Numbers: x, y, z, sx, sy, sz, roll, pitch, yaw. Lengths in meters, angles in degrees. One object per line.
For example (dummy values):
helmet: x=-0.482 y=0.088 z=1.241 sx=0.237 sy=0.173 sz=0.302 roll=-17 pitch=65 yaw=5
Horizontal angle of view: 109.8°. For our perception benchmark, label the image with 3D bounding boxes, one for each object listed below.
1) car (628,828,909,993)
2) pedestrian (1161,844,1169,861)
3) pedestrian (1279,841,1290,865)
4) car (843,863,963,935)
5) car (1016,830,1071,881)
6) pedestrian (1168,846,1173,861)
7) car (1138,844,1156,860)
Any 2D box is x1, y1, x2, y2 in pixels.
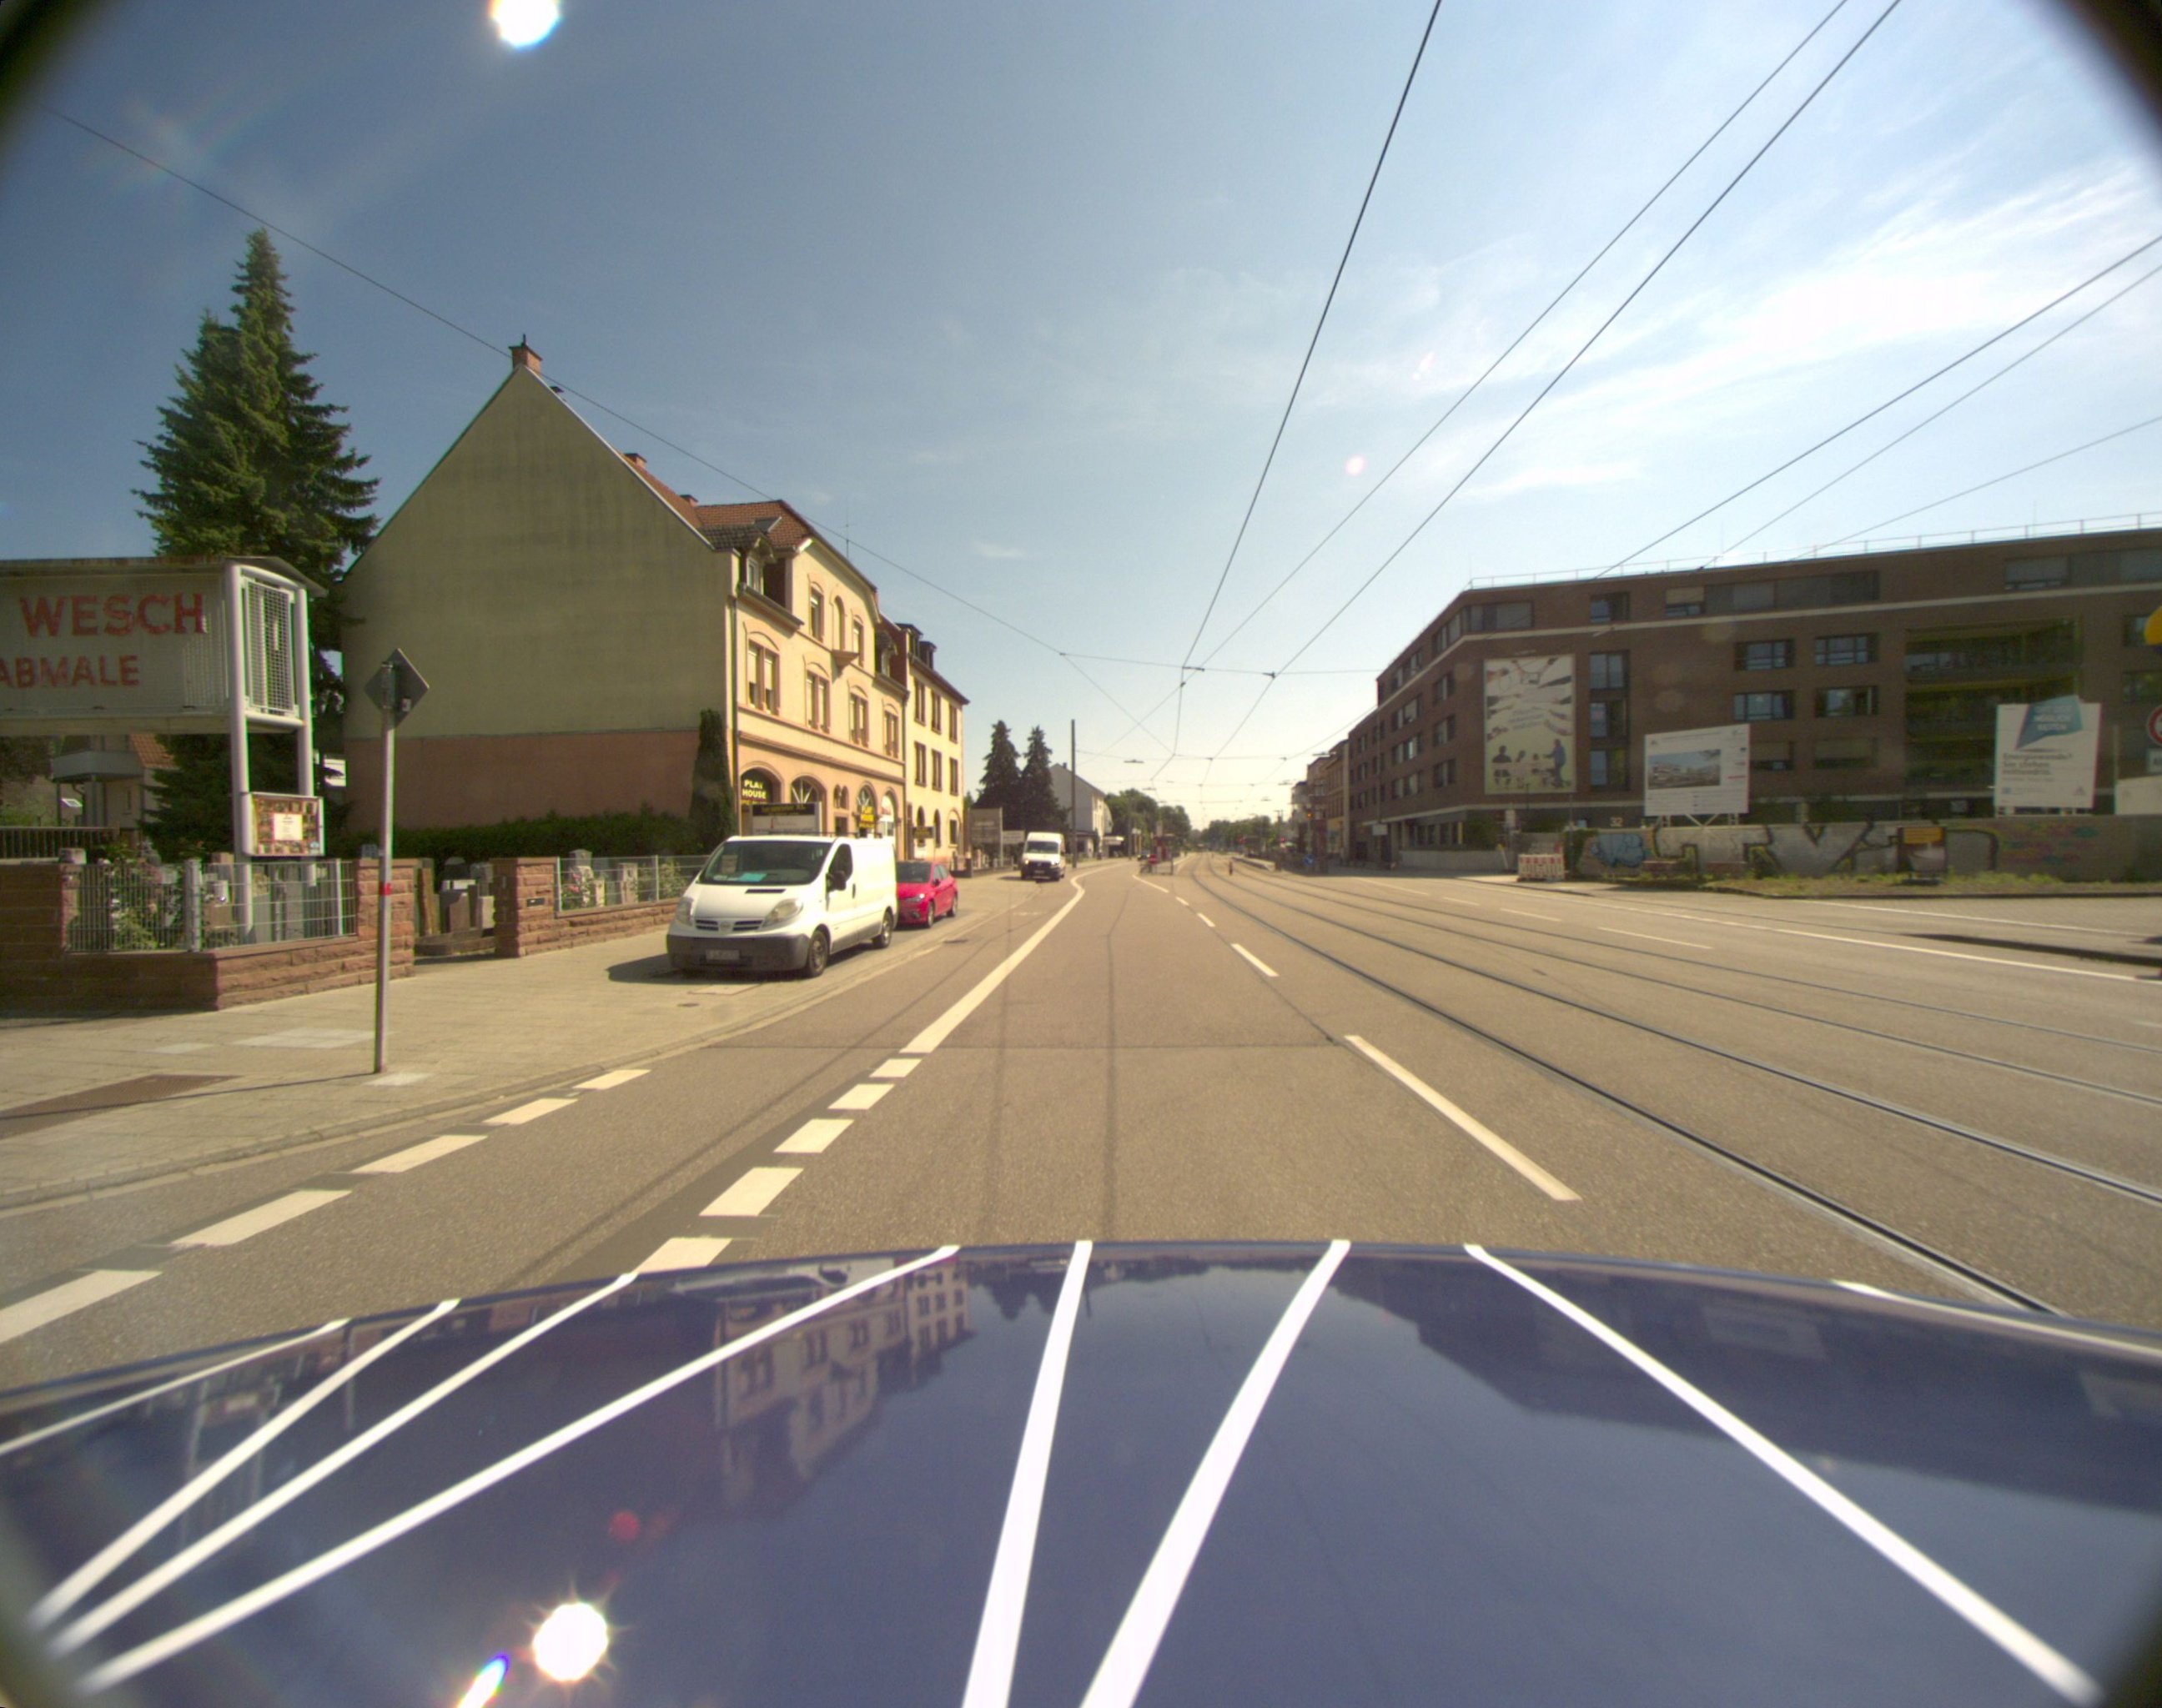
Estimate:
car: x=-4.410 y=0.680 z=11.803 sx=2.088 sy=2.002 sz=4.908 roll=-1 pitch=1 yaw=3
pedestrian: x=8.224 y=-0.140 z=74.426 sx=0.707 sy=1.680 sz=0.416 roll=-1 pitch=1 yaw=1
pedestrian: x=15.081 y=-0.080 z=56.350 sx=0.557 sy=1.750 sz=0.793 roll=-1 pitch=1 yaw=3
car: x=-4.029 y=0.956 z=17.826 sx=1.724 sy=1.398 sz=4.001 roll=-1 pitch=1 yaw=2
car: x=-1.957 y=0.038 z=41.772 sx=2.335 sy=2.521 sz=6.507 roll=1 pitch=1 yaw=3
pedestrian: x=10.077 y=-0.085 z=85.157 sx=0.416 sy=1.680 sz=0.707 roll=-1 pitch=1 yaw=-5
car: x=8.778 y=-0.256 z=100.677 sx=1.997 sy=2.002 sz=4.003 roll=0 pitch=1 yaw=11
